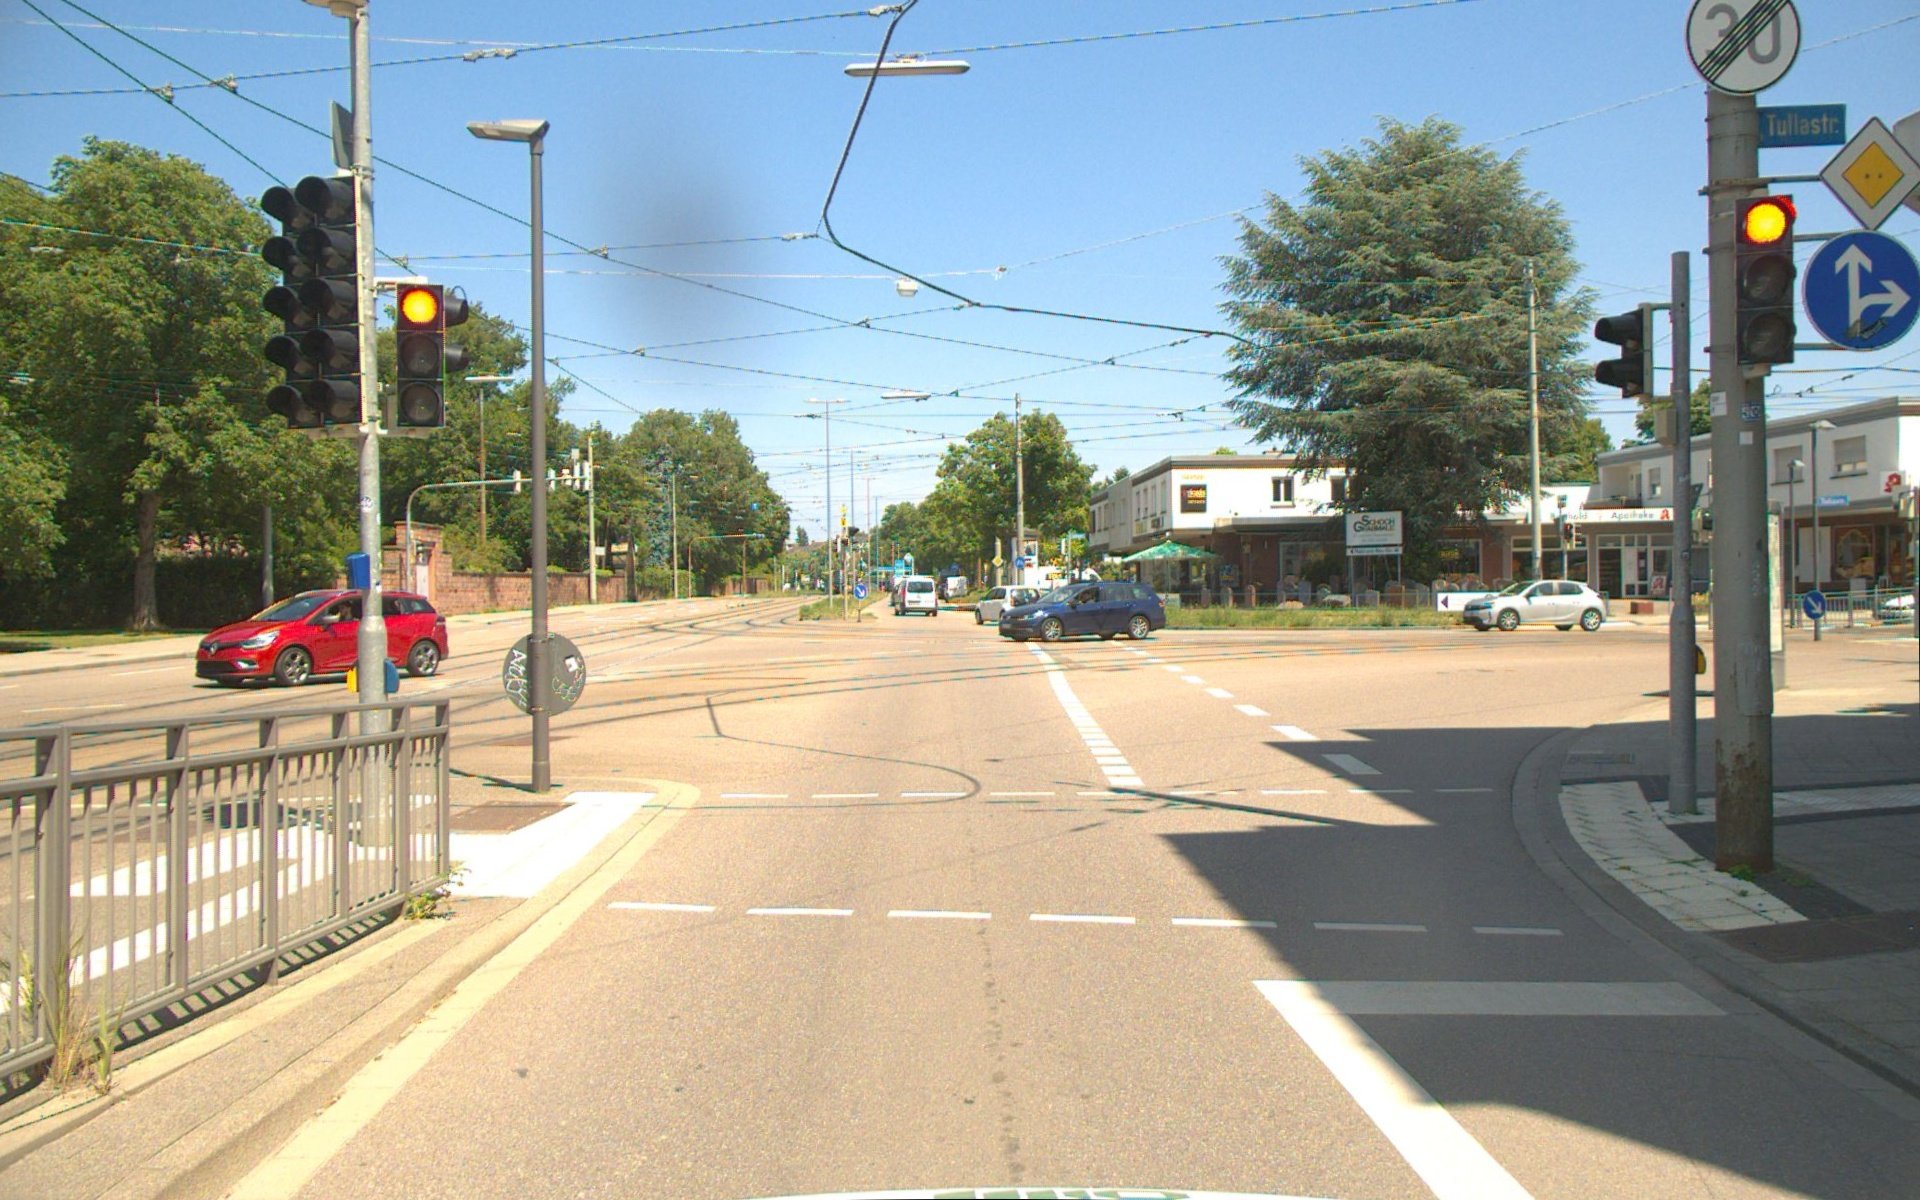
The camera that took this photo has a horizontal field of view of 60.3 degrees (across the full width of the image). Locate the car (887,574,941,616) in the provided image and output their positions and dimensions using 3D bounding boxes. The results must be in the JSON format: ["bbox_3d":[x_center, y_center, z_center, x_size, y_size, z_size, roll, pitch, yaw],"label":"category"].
[{"bbox_3d":[-2.222,-0.276,78.925,1.958,1.892,3.990,0,1,-11],"label":"car"}]

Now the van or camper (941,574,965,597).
[{"bbox_3d":[-0.558,-1.161,130.452,1.883,1.803,3.999,-1,1,-1],"label":"van or camper"}]

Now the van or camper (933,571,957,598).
[{"bbox_3d":[-1.373,-1.439,152.908,1.954,2.507,3.997,-1,0,-4],"label":"van or camper"}]

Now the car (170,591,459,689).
[{"bbox_3d":[-10.368,0.590,26.858,1.784,1.420,4.166,0,1,31],"label":"car"}]

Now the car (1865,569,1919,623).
[{"bbox_3d":[28.988,-0.172,48.060,4.393,1.515,1.824,-2,0,-1],"label":"car"}]

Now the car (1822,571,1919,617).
[{"bbox_3d":[29.120,-0.206,51.499,3.752,1.375,1.641,-1,0,-2],"label":"car"}]

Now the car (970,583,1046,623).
[{"bbox_3d":[1.792,0.094,62.160,1.647,1.460,3.452,-1,1,-21],"label":"car"}]

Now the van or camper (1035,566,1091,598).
[{"bbox_3d":[8.949,-1.584,143.621,4.662,2.717,2.134,-1,0,-3],"label":"van or camper"}]

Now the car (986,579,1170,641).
[{"bbox_3d":[3.020,0.226,42.186,4.410,1.467,1.846,-1,1,-27],"label":"car"}]

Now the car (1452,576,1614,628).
[{"bbox_3d":[16.268,0.048,47.040,3.959,1.386,1.822,-1,0,-5],"label":"car"}]
